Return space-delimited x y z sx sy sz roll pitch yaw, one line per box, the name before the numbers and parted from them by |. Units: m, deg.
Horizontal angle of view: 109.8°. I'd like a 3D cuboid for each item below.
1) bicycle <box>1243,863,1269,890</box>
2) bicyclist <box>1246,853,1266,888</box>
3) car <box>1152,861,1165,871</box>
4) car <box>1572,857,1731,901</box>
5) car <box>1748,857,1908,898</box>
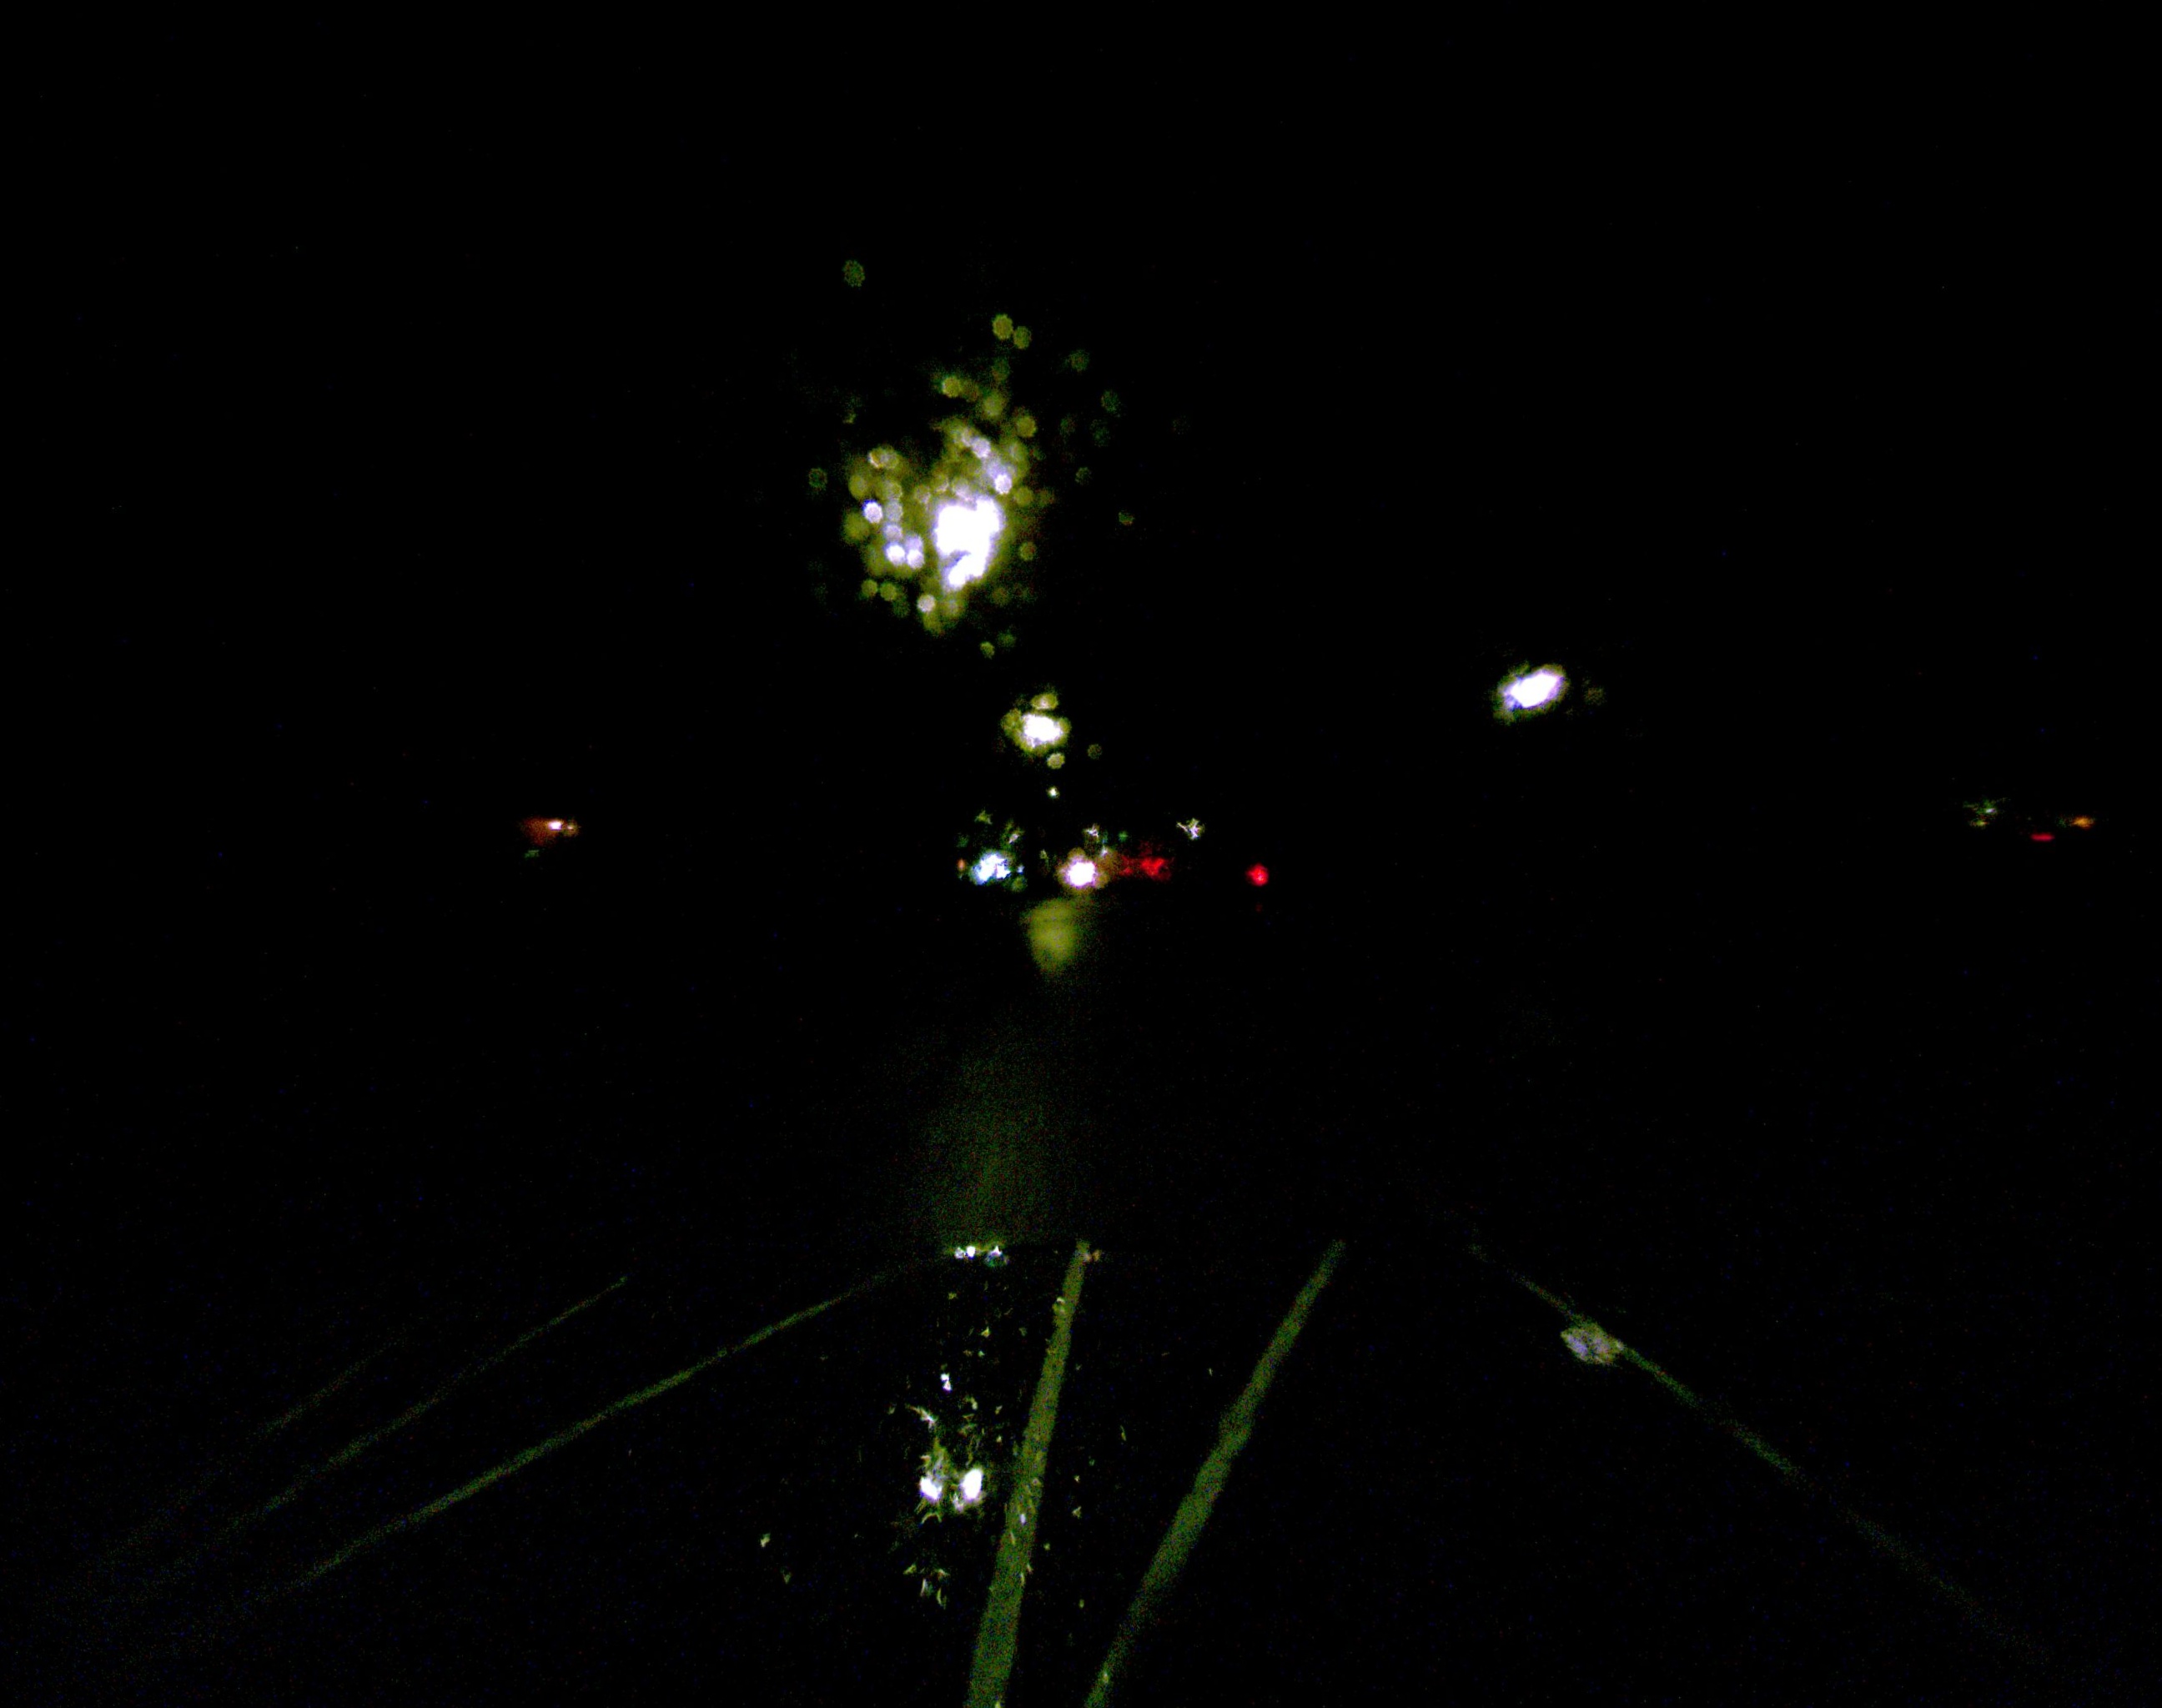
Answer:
bicycle | 8.279 1.045 35.986 0.631 1.154 2.313 -2 0 0
bicyclist | 8.256 0.801 35.951 0.638 1.585 0.961 -2 -2 -1
car | 13.257 2.021 129.401 1.997 1.447 4.306 3 1 8
car | 19.195 0.825 25.693 4.084 1.364 1.494 0 4 5
car | 25.150 0.781 25.670 3.864 1.252 1.493 0 3 1
